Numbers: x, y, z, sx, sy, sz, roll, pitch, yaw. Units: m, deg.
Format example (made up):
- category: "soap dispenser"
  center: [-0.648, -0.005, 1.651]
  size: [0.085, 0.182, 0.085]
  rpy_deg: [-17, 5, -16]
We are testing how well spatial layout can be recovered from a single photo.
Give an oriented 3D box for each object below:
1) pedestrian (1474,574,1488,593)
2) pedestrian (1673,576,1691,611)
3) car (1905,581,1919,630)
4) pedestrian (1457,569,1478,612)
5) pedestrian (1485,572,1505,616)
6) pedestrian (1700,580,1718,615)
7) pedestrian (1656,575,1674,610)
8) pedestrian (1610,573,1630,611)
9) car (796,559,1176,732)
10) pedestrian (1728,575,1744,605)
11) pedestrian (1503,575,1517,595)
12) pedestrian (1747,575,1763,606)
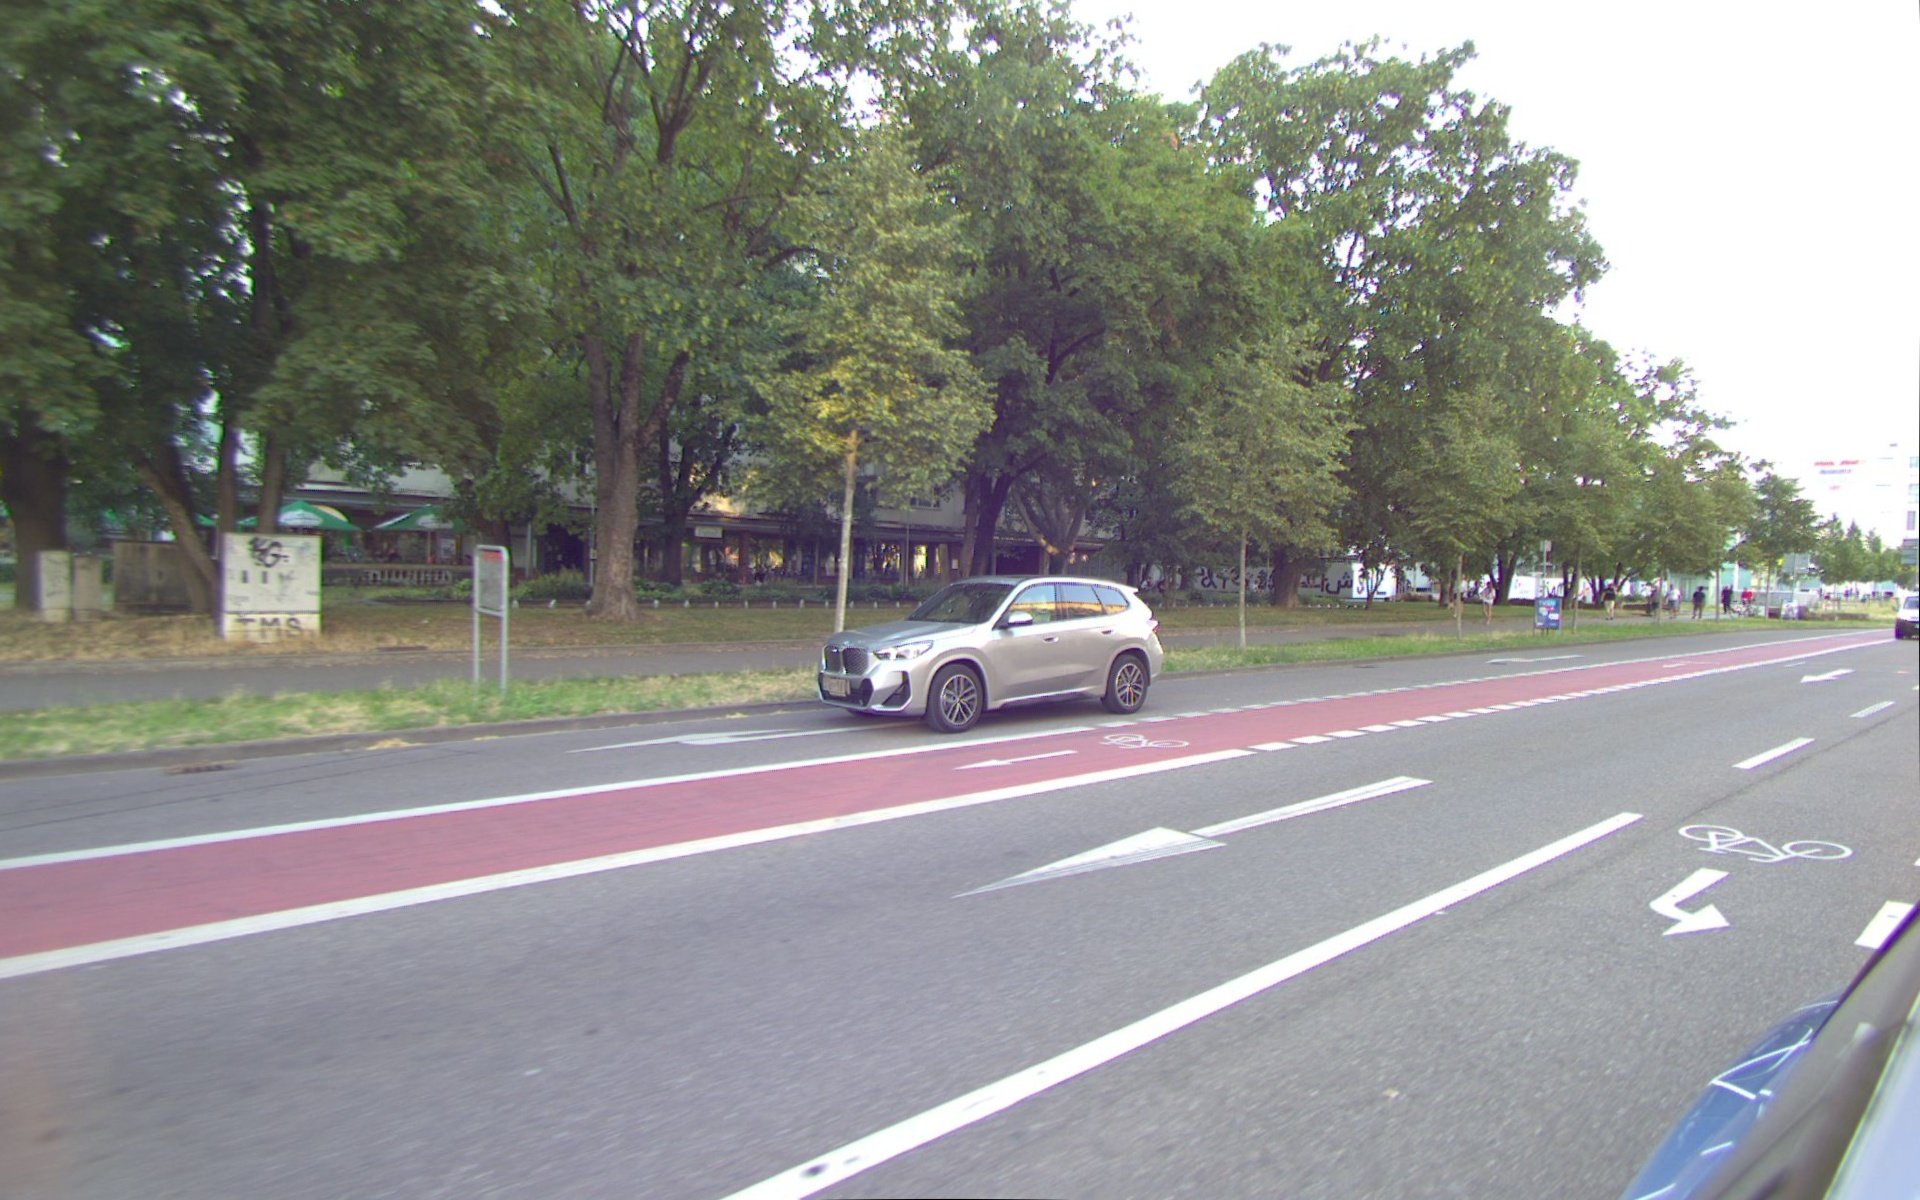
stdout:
- category: "pedestrian"
  center: [37.318, -1.186, 72.464]
  size: [0.669, 1.371, 0.631]
  rpy_deg: [0, 2, -41]
- category: "pedestrian"
  center: [36.537, -0.331, 51.218]
  size: [0.707, 1.751, 0.508]
  rpy_deg: [0, 2, -41]
- category: "car"
  center: [35.485, 0.217, 36.323]
  size: [4.141, 1.707, 1.781]
  rpy_deg: [0, 2, -41]
- category: "pedestrian"
  center: [19.293, -0.367, 38.486]
  size: [0.513, 1.620, 0.500]
  rpy_deg: [0, 2, -41]
- category: "pedestrian"
  center: [20.001, -0.215, 37.845]
  size: [0.359, 1.620, 0.500]
  rpy_deg: [0, 2, -40]
- category: "pedestrian"
  center: [37.630, -0.127, 50.852]
  size: [0.546, 1.760, 0.558]
  rpy_deg: [0, 2, -41]
- category: "pedestrian"
  center: [36.109, -0.381, 51.836]
  size: [0.707, 1.751, 0.519]
  rpy_deg: [0, 2, -41]
- category: "pedestrian"
  center: [30.349, -0.379, 46.538]
  size: [0.707, 1.751, 0.508]
  rpy_deg: [0, 2, -41]
- category: "car"
  center: [0.427, 0.422, 11.674]
  size: [4.260, 1.642, 1.825]
  rpy_deg: [0, 0, -40]
- category: "pedestrian"
  center: [46.219, -0.596, 60.266]
  size: [0.497, 1.779, 0.638]
  rpy_deg: [0, 2, -41]
- category: "pedestrian"
  center: [38.737, -1.046, 71.285]
  size: [0.550, 1.371, 0.662]
  rpy_deg: [0, 2, -41]
- category: "pedestrian"
  center: [46.820, -0.579, 59.597]
  size: [0.497, 1.779, 0.638]
  rpy_deg: [0, 2, -41]
